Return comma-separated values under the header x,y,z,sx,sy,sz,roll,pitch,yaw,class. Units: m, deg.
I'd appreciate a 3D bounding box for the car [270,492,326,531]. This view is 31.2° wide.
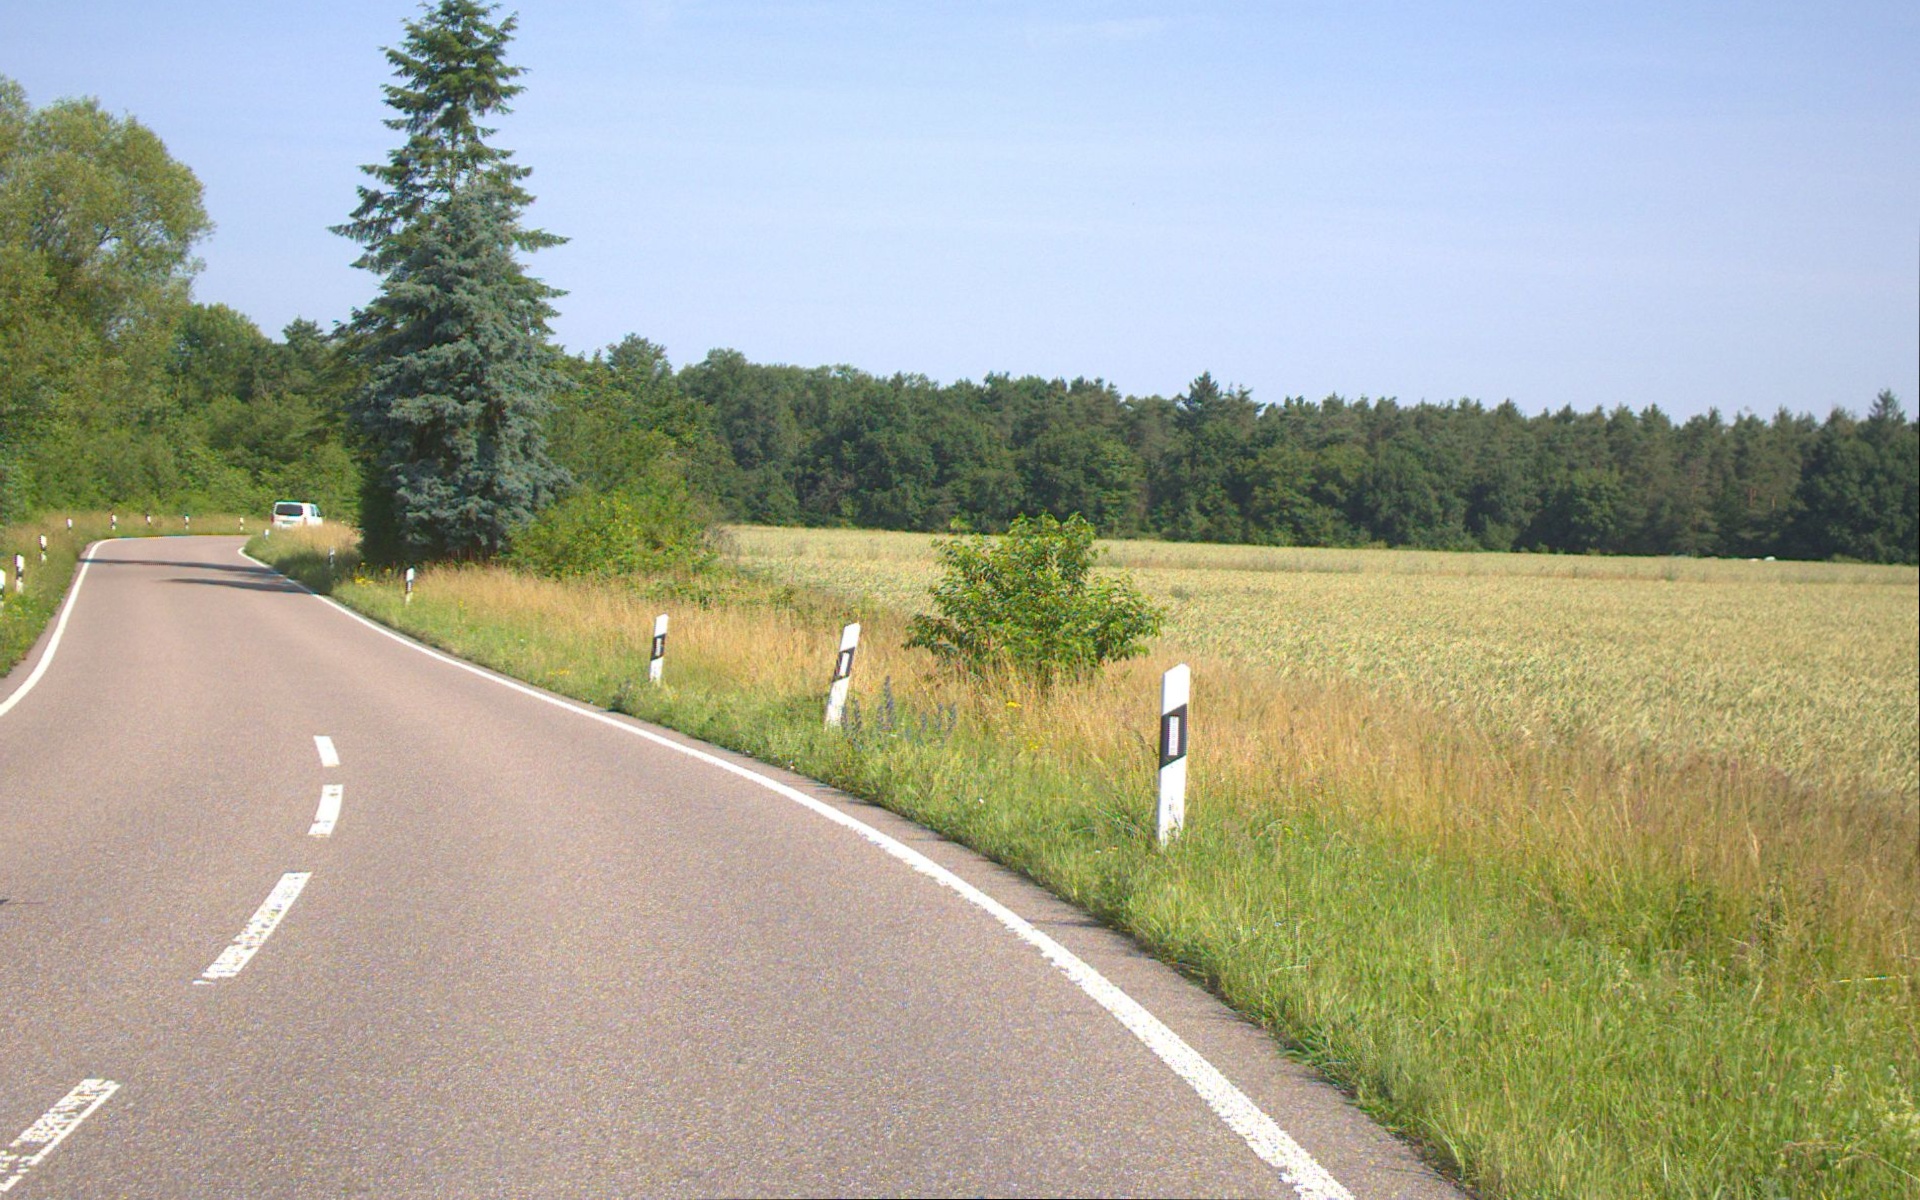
x,y,z,sx,sy,sz,roll,pitch,yaw,class
-33.551,-4.491,174.260,1.962,1.796,4.161,4,2,0,car
